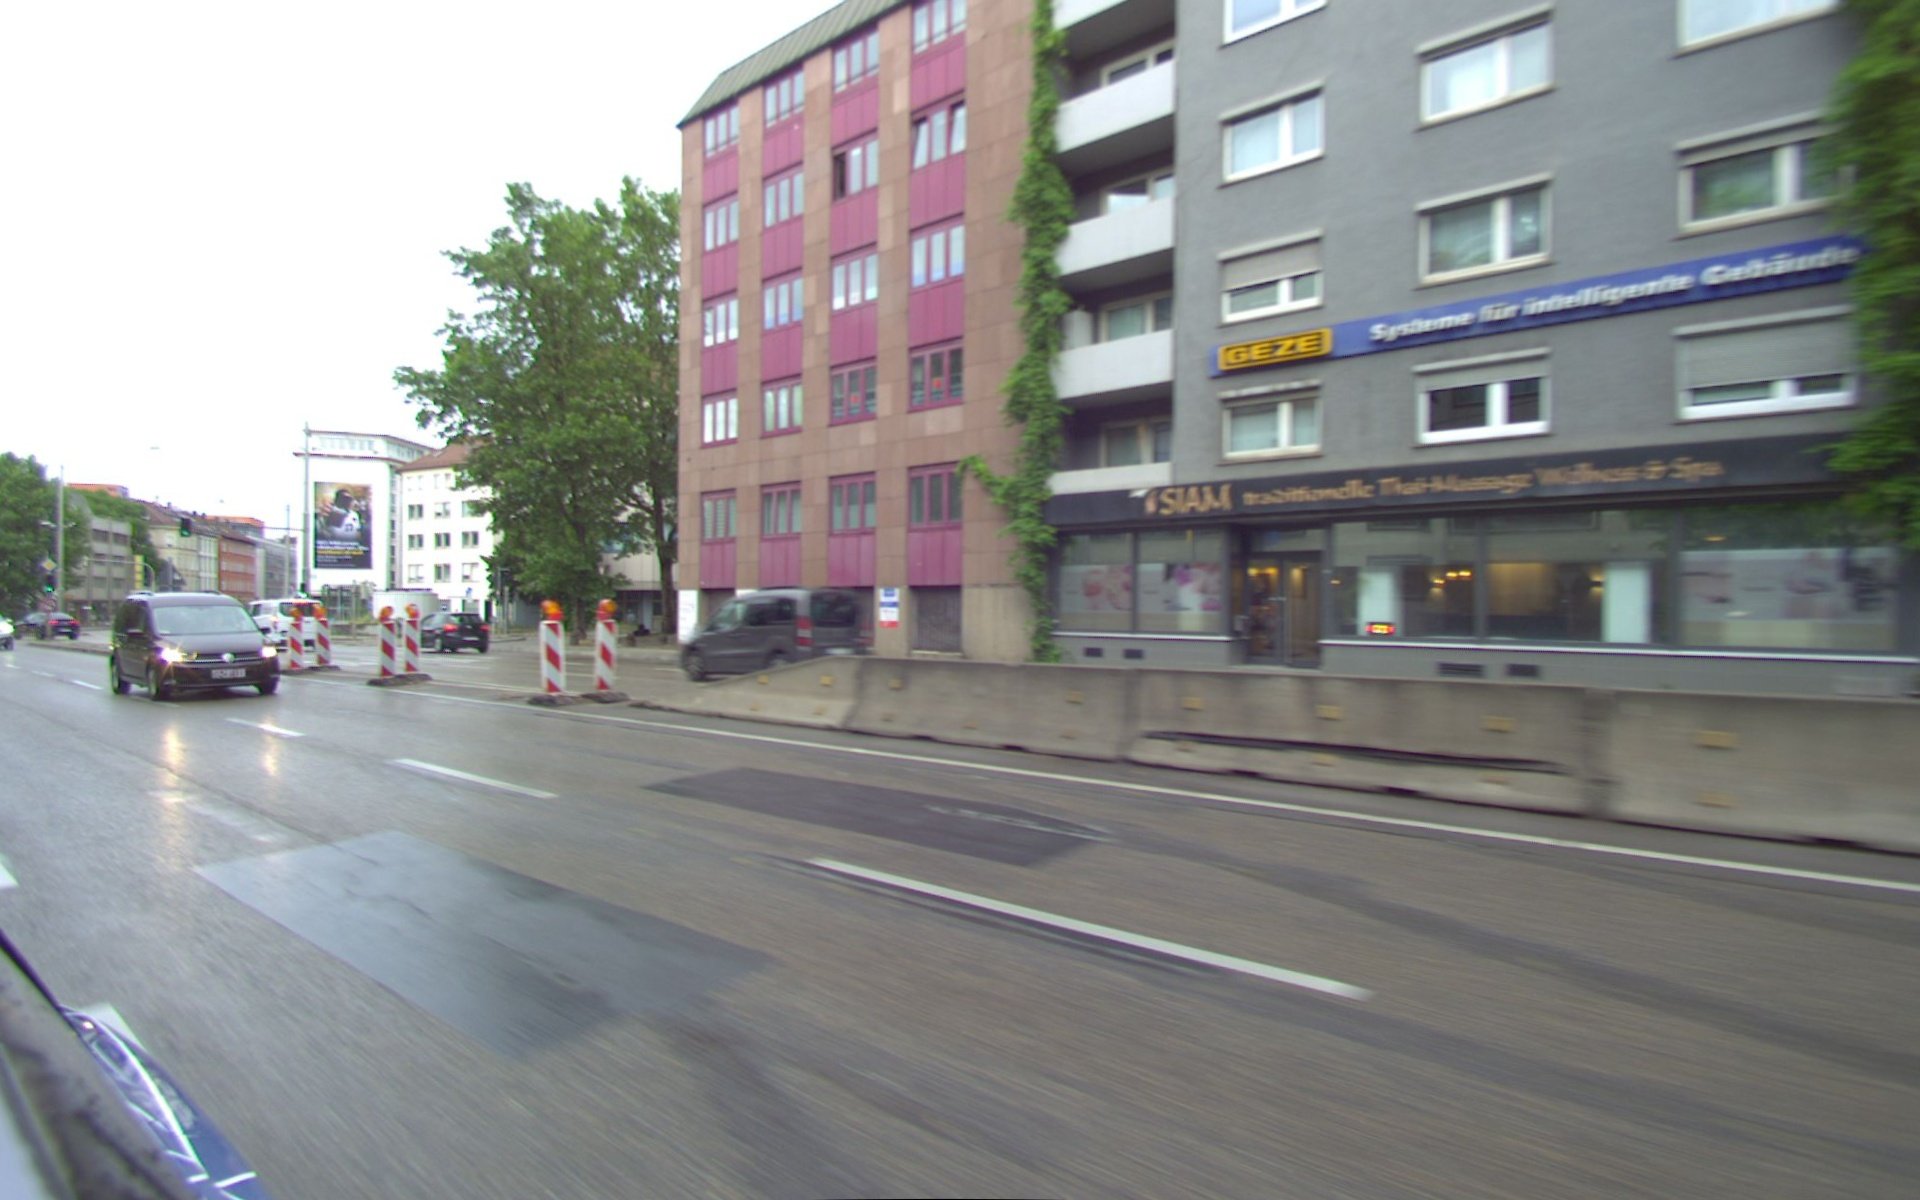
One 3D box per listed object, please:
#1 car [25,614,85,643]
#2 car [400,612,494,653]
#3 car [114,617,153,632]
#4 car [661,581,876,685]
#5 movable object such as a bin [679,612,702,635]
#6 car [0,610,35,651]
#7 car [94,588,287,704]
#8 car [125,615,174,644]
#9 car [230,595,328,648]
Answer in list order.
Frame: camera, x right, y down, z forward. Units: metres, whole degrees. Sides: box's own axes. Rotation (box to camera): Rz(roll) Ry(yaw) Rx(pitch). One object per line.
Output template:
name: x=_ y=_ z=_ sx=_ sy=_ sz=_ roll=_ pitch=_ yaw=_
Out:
car: x=-54.226 y=1.680 z=60.619 sx=4.933 sy=1.690 sz=1.973 roll=-1 pitch=-2 yaw=40
car: x=-18.779 y=1.166 z=37.011 sx=4.018 sy=1.410 sz=1.681 roll=-1 pitch=-1 yaw=41
car: x=-79.576 y=2.359 z=97.527 sx=1.966 sy=1.462 sz=4.242 roll=1 pitch=-1 yaw=-26
car: x=-3.757 y=0.588 z=19.397 sx=4.423 sy=1.784 sz=1.703 roll=-1 pitch=-1 yaw=42
movable object such as a bin: x=-11.924 y=1.033 z=44.757 sx=0.861 sy=1.003 sz=0.790 roll=0 pitch=-1 yaw=-5
car: x=-39.111 y=1.210 z=41.178 sx=3.999 sy=1.588 sz=1.823 roll=-1 pitch=-1 yaw=42
car: x=-13.574 y=0.737 z=17.777 sx=4.121 sy=1.813 sz=1.773 roll=-1 pitch=0 yaw=39
car: x=-42.380 y=1.542 z=52.915 sx=2.948 sy=1.496 sz=1.539 roll=-2 pitch=-2 yaw=42
car: x=-27.416 y=0.854 z=40.672 sx=5.286 sy=2.005 sz=1.973 roll=-1 pitch=-1 yaw=41
